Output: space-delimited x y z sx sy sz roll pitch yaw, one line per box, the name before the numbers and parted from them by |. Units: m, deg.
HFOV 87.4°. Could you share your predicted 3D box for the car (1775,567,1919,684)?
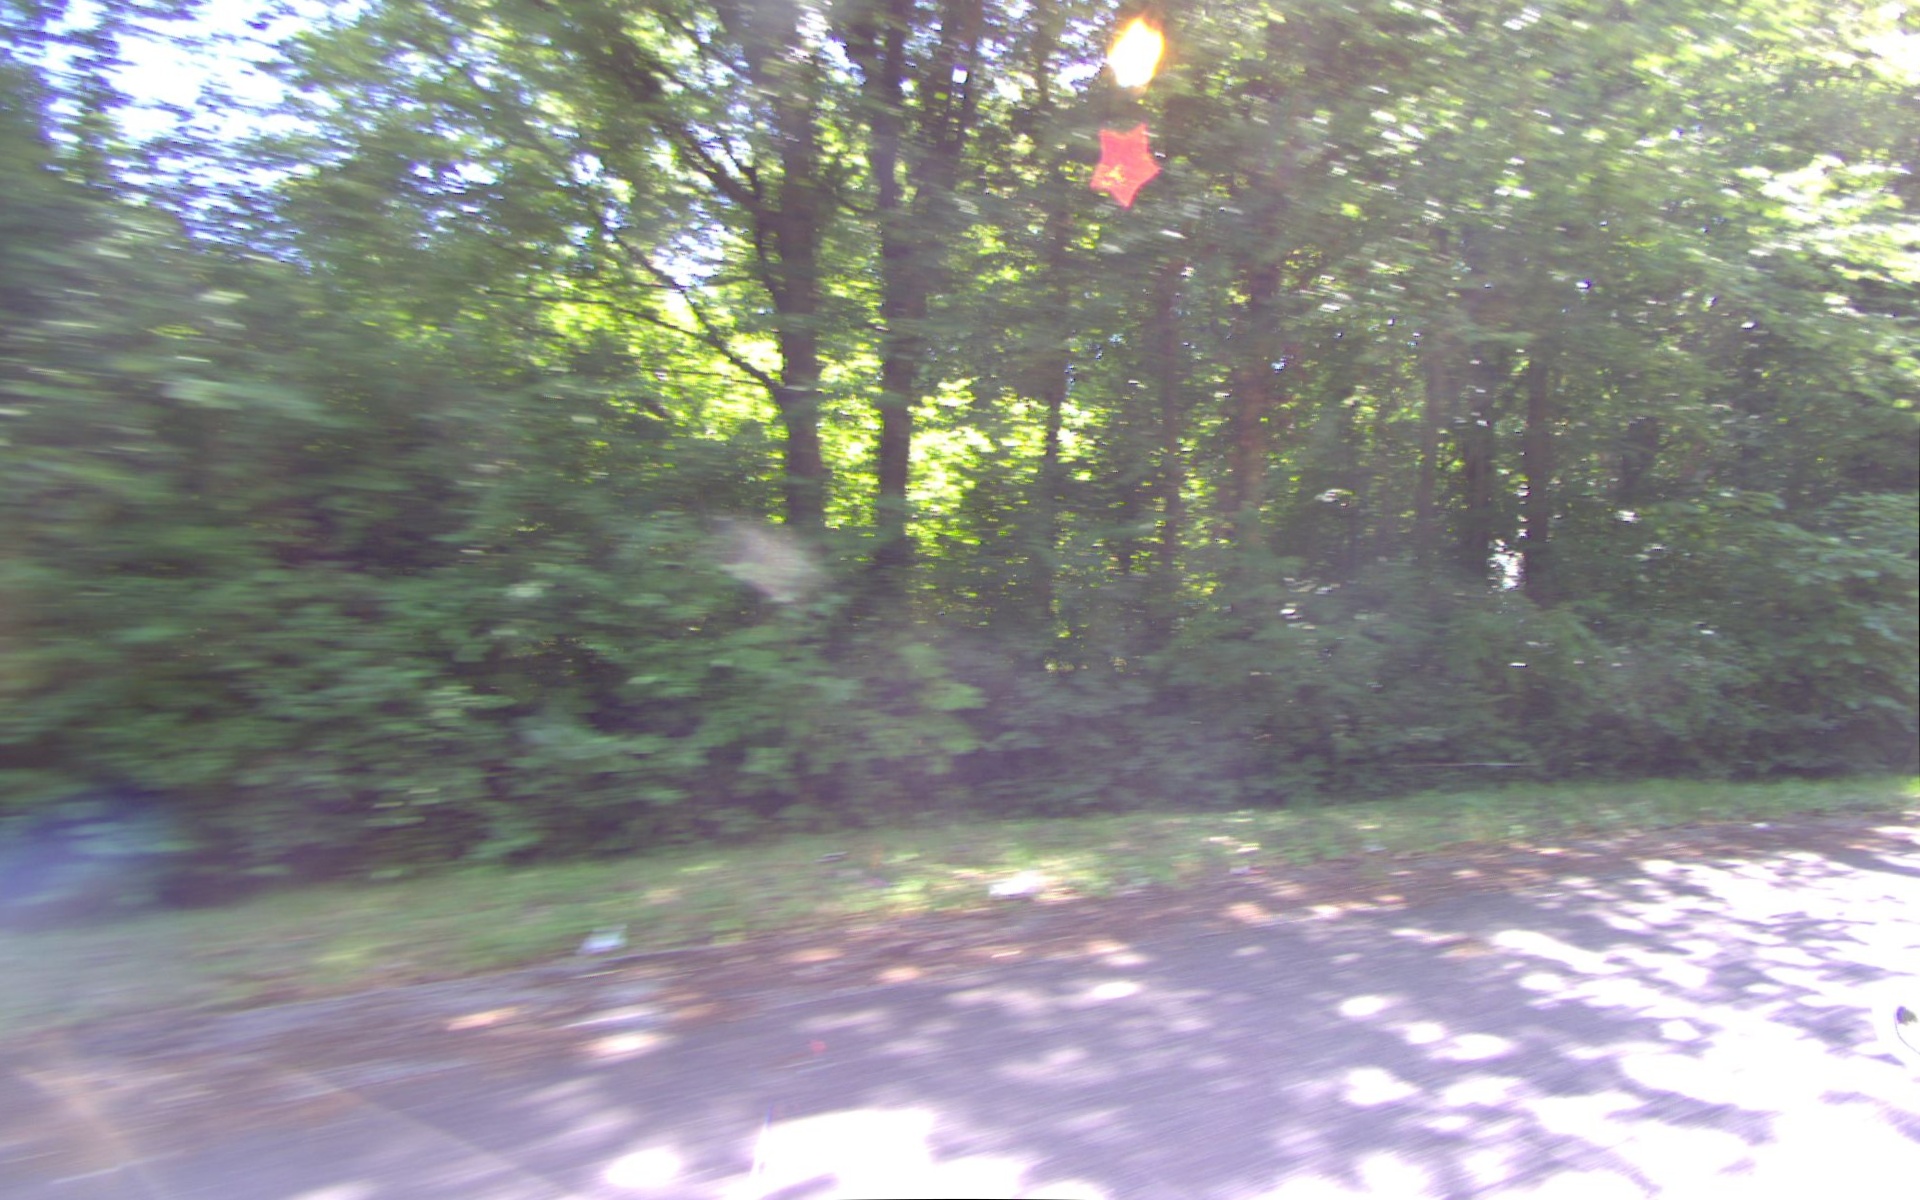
car | 20.933 0.501 21.309 5.327 2.378 2.065 0 2 28
